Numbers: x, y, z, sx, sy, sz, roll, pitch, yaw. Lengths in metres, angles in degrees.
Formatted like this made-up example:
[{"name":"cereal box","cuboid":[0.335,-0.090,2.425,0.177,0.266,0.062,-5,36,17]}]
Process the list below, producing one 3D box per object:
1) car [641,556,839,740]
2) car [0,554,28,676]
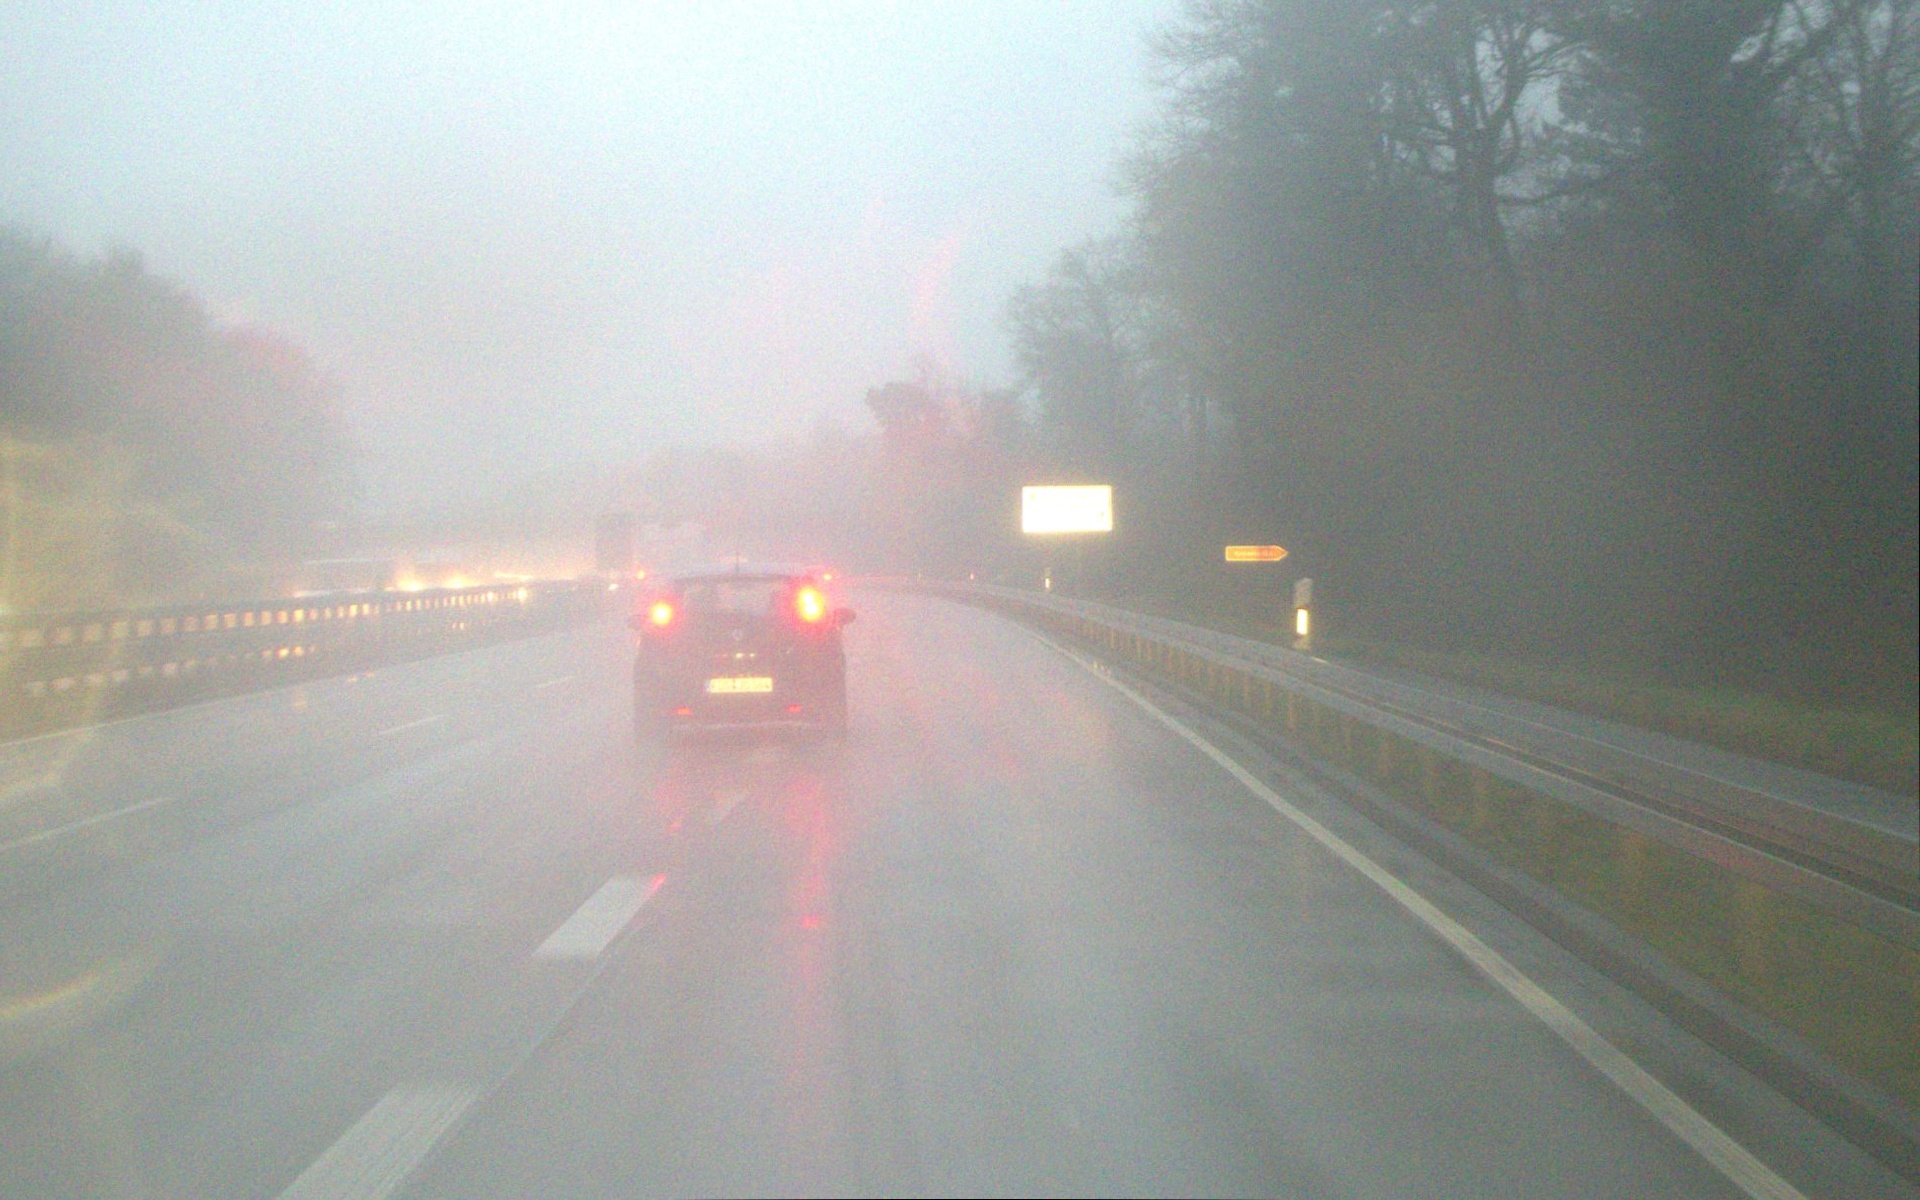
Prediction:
[{"name":"car","cuboid":[-1.816,0.357,28.789,1.527,1.411,3.479,1,1,-3]},{"name":"car","cuboid":[-13.877,0.224,45.706,1.842,1.651,4.669,-1,1,-2]}]
